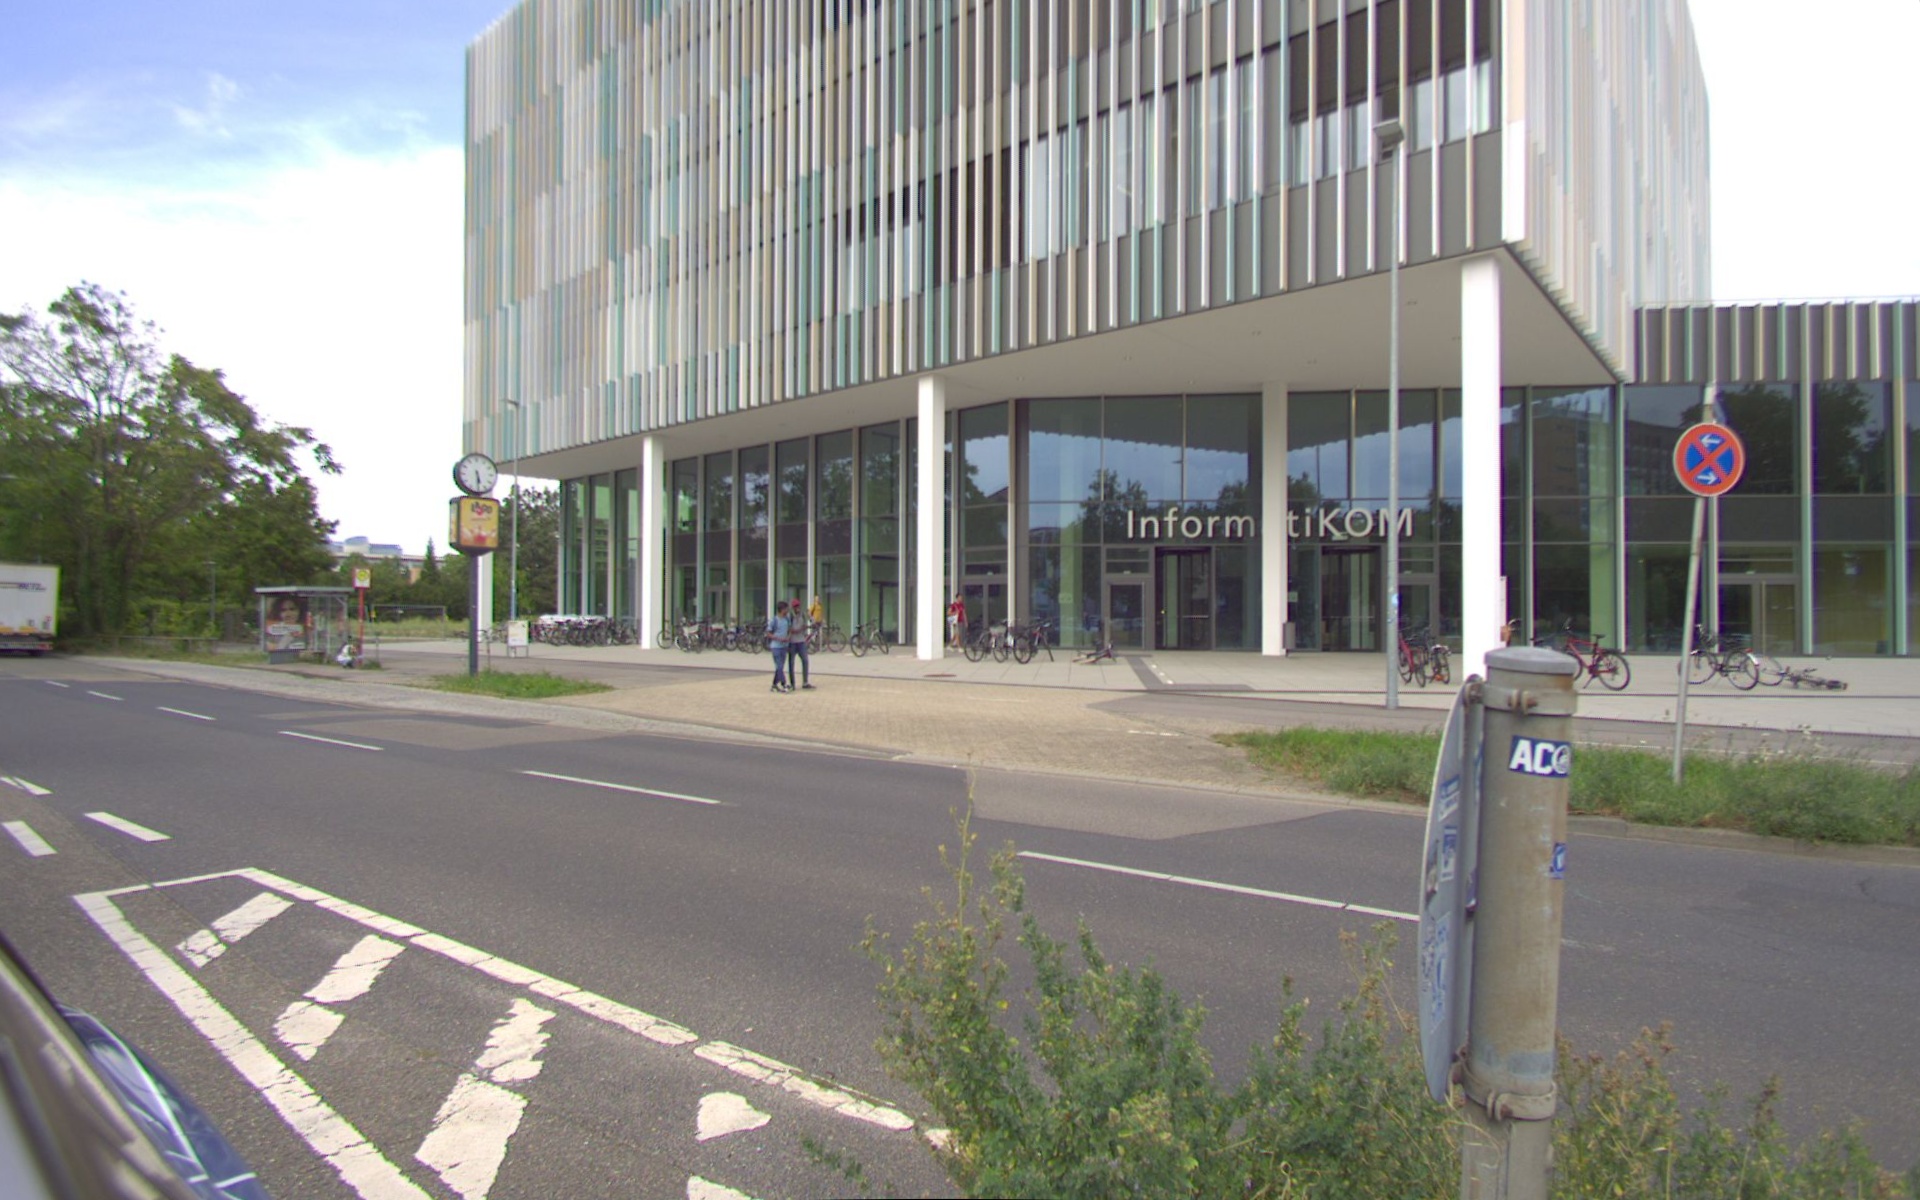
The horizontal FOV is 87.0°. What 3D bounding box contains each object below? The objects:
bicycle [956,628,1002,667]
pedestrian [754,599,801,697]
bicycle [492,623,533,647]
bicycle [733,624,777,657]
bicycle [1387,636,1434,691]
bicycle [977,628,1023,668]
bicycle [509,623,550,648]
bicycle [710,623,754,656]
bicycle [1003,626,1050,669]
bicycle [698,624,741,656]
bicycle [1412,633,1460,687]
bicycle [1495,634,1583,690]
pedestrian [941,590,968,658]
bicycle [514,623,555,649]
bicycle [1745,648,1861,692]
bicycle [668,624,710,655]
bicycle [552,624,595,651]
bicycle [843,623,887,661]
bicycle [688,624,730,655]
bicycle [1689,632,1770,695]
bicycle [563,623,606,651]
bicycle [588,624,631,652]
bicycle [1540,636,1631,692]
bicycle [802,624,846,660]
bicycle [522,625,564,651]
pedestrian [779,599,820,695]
[{"bbox_3d":[0.512,1.255,26.977,0.389,0.944,1.527,-1,0,36],"label":"bicycle"},{"bbox_3d":[-3.532,0.919,19.532,0.772,1.851,0.505,-3,-3,41],"label":"pedestrian"},{"bbox_3d":[-20.463,1.600,46.290,0.434,1.031,1.683,-1,0,36],"label":"bicycle"},{"bbox_3d":[-6.809,1.340,33.703,0.389,1.031,1.563,-1,0,36],"label":"bicycle"},{"bbox_3d":[8.659,1.201,19.495,0.389,0.944,1.607,-1,0,8],"label":"bicycle"},{"bbox_3d":[1.057,1.248,26.592,0.393,0.944,1.527,-1,0,36],"label":"bicycle"},{"bbox_3d":[-19.298,1.584,45.371,0.434,1.031,1.683,-1,0,36],"label":"bicycle"},{"bbox_3d":[-7.853,1.351,34.912,0.389,1.031,1.563,-1,0,36],"label":"bicycle"},{"bbox_3d":[1.732,1.210,26.149,0.399,1.002,1.527,-1,0,37],"label":"bicycle"},{"bbox_3d":[-8.374,1.377,35.306,0.389,1.031,1.563,-1,0,36],"label":"bicycle"},{"bbox_3d":[9.505,1.179,20.239,0.389,0.944,1.594,-1,0,8],"label":"bicycle"},{"bbox_3d":[10.794,1.139,18.927,0.387,0.944,1.602,-1,0,-15],"label":"bicycle"},{"bbox_3d":[-0.183,0.739,30.846,0.505,2.059,0.625,1,-3,-44],"label":"pedestrian"},{"bbox_3d":[-18.753,1.577,44.661,0.434,1.031,1.683,-1,0,36],"label":"bicycle"},{"bbox_3d":[15.651,1.276,18.840,0.387,0.678,1.800,-1,0,-11],"label":"bicycle"},{"bbox_3d":[-9.719,1.394,36.351,0.389,1.031,1.563,-1,0,36],"label":"bicycle"},{"bbox_3d":[-16.110,1.543,42.170,0.434,1.031,1.683,-1,0,36],"label":"bicycle"},{"bbox_3d":[-2.851,1.255,30.489,0.389,1.031,1.563,-1,0,36],"label":"bicycle"},{"bbox_3d":[-8.842,1.380,35.695,0.389,1.031,1.563,-1,0,36],"label":"bicycle"},{"bbox_3d":[14.234,1.155,18.769,0.389,1.037,1.544,-1,0,4],"label":"bicycle"},{"bbox_3d":[-15.446,1.515,41.640,0.434,1.031,1.683,-1,0,36],"label":"bicycle"},{"bbox_3d":[-14.093,1.500,40.686,0.389,1.031,1.683,-1,0,36],"label":"bicycle"},{"bbox_3d":[11.728,1.177,19.036,0.387,0.944,1.602,-1,0,-15],"label":"bicycle"},{"bbox_3d":[-4.274,1.310,31.959,0.389,1.031,1.563,-1,0,36],"label":"bicycle"},{"bbox_3d":[-18.010,1.651,43.694,0.434,1.031,1.683,-1,0,36],"label":"bicycle"},{"bbox_3d":[-3.166,0.913,19.913,0.624,1.851,0.505,-3,-3,41],"label":"pedestrian"}]
